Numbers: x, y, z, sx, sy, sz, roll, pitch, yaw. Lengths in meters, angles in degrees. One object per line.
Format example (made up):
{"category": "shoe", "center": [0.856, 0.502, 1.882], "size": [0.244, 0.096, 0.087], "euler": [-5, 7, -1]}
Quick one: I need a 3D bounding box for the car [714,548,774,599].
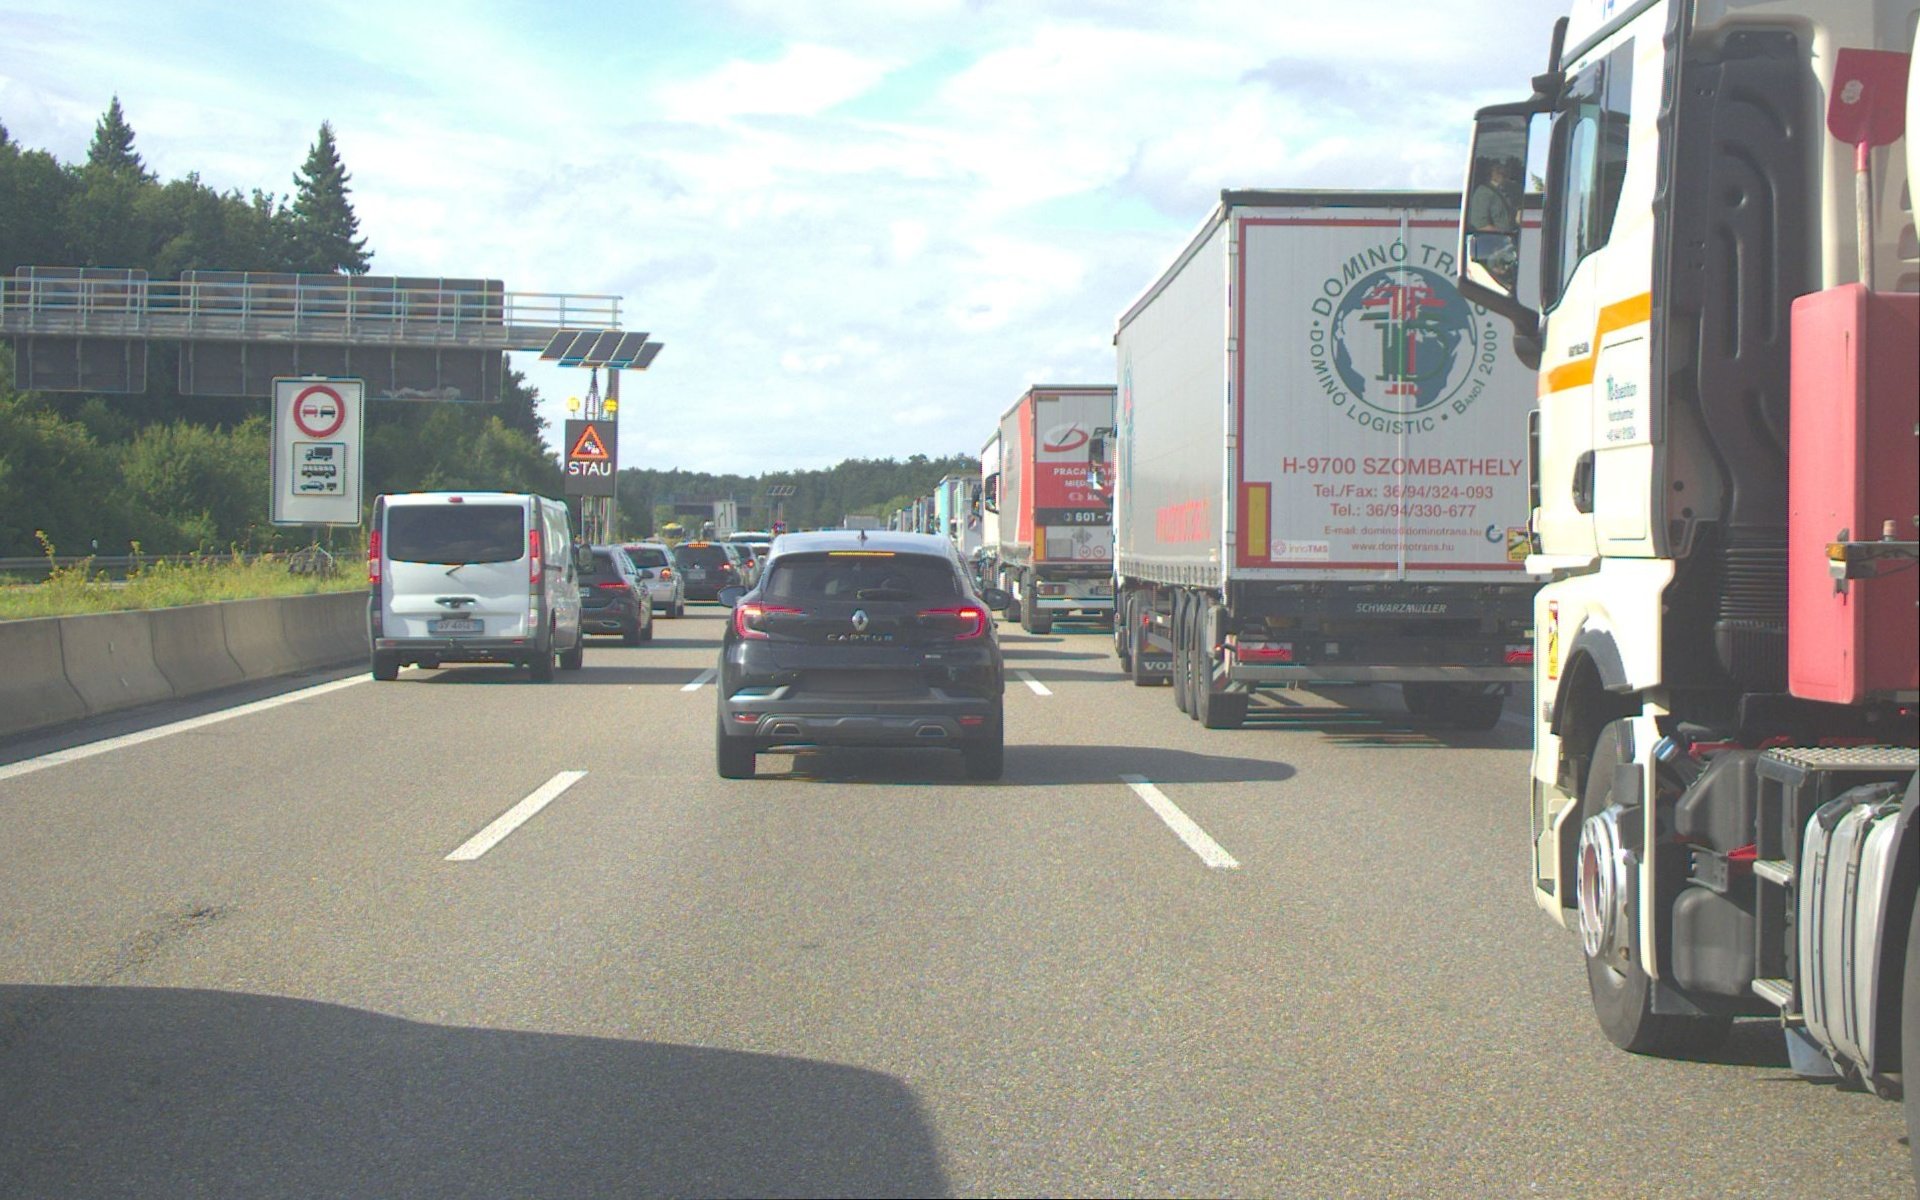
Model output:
{"category": "car", "center": [-5.970, -0.747, 95.214], "size": [1.434, 1.305, 3.534], "euler": [4, 1, -2]}

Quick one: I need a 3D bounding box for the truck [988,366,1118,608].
{"category": "truck", "center": [1.674, -2.045, 64.194], "size": [2.134, 4.267, 6.339], "euler": [1, 1, -1]}

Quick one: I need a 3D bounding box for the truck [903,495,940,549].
{"category": "truck", "center": [-2.259, -4.593, 203.025], "size": [1.993, 3.042, 4.982], "euler": [4, 1, -1]}

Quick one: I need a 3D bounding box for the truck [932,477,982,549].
{"category": "truck", "center": [-0.148, -3.856, 153.106], "size": [1.993, 3.042, 4.982], "euler": [4, 1, -1]}

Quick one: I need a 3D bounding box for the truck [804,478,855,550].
{"category": "truck", "center": [-6.872, -4.518, 181.452], "size": [2.344, 3.582, 6.306], "euler": [4, 1, -1]}

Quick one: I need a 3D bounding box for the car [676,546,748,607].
{"category": "car", "center": [-5.789, -0.558, 80.469], "size": [1.434, 1.305, 3.534], "euler": [4, 1, -2]}

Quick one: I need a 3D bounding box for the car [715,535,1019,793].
{"category": "car", "center": [-0.527, 0.343, 22.765], "size": [1.697, 1.478, 4.160], "euler": [1, 2, 2]}

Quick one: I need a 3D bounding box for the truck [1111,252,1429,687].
{"category": "truck", "center": [3.163, -1.308, 36.706], "size": [2.786, 4.232, 6.460], "euler": [0, 1, 0]}

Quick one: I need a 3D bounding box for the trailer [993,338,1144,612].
{"category": "trailer", "center": [1.739, -2.005, 57.989], "size": [2.150, 4.244, 8.440], "euler": [1, 1, -1]}

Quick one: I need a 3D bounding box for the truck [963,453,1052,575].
{"category": "truck", "center": [1.179, -2.166, 88.231], "size": [1.993, 2.922, 4.982], "euler": [4, 1, -1]}

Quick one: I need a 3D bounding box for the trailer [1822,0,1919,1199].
{"category": "trailer", "center": [3.222, -0.287, 2.116], "size": [2.541, 3.641, 10.627], "euler": [1, 1, -1]}

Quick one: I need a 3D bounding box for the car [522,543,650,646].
{"category": "car", "center": [-5.377, -0.105, 49.669], "size": [1.500, 1.391, 3.476], "euler": [2, 1, -1]}

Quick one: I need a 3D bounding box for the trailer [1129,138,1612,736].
{"category": "trailer", "center": [3.179, -1.222, 29.884], "size": [2.802, 4.229, 11.057], "euler": [0, 1, 0]}

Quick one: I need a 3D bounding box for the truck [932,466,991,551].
{"category": "truck", "center": [0.040, -3.466, 130.888], "size": [1.993, 3.042, 4.982], "euler": [4, 1, -1]}

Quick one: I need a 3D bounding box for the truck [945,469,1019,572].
{"category": "truck", "center": [0.635, -2.400, 104.747], "size": [1.993, 2.922, 4.982], "euler": [4, 1, -1]}

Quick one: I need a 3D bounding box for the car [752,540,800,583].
{"category": "car", "center": [-5.872, -1.233, 110.001], "size": [1.361, 1.296, 3.085], "euler": [4, 1, -1]}

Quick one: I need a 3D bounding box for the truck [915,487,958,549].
{"category": "truck", "center": [-1.210, -4.216, 177.282], "size": [1.993, 3.042, 4.982], "euler": [4, 1, -1]}

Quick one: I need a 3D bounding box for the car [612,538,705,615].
{"category": "car", "center": [-5.903, -0.474, 67.630], "size": [1.500, 1.391, 3.476], "euler": [4, 1, -1]}

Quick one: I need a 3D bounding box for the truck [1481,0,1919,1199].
{"category": "truck", "center": [3.116, -0.427, 8.347], "size": [2.533, 3.571, 6.730], "euler": [1, 1, -1]}

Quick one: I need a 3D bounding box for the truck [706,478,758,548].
{"category": "truck", "center": [-12.435, -4.733, 187.731], "size": [2.344, 3.582, 6.306], "euler": [4, 1, -1]}

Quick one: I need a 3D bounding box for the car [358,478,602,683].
{"category": "car", "center": [-5.163, -0.228, 37.624], "size": [1.933, 1.972, 5.099], "euler": [4, 1, -1]}
